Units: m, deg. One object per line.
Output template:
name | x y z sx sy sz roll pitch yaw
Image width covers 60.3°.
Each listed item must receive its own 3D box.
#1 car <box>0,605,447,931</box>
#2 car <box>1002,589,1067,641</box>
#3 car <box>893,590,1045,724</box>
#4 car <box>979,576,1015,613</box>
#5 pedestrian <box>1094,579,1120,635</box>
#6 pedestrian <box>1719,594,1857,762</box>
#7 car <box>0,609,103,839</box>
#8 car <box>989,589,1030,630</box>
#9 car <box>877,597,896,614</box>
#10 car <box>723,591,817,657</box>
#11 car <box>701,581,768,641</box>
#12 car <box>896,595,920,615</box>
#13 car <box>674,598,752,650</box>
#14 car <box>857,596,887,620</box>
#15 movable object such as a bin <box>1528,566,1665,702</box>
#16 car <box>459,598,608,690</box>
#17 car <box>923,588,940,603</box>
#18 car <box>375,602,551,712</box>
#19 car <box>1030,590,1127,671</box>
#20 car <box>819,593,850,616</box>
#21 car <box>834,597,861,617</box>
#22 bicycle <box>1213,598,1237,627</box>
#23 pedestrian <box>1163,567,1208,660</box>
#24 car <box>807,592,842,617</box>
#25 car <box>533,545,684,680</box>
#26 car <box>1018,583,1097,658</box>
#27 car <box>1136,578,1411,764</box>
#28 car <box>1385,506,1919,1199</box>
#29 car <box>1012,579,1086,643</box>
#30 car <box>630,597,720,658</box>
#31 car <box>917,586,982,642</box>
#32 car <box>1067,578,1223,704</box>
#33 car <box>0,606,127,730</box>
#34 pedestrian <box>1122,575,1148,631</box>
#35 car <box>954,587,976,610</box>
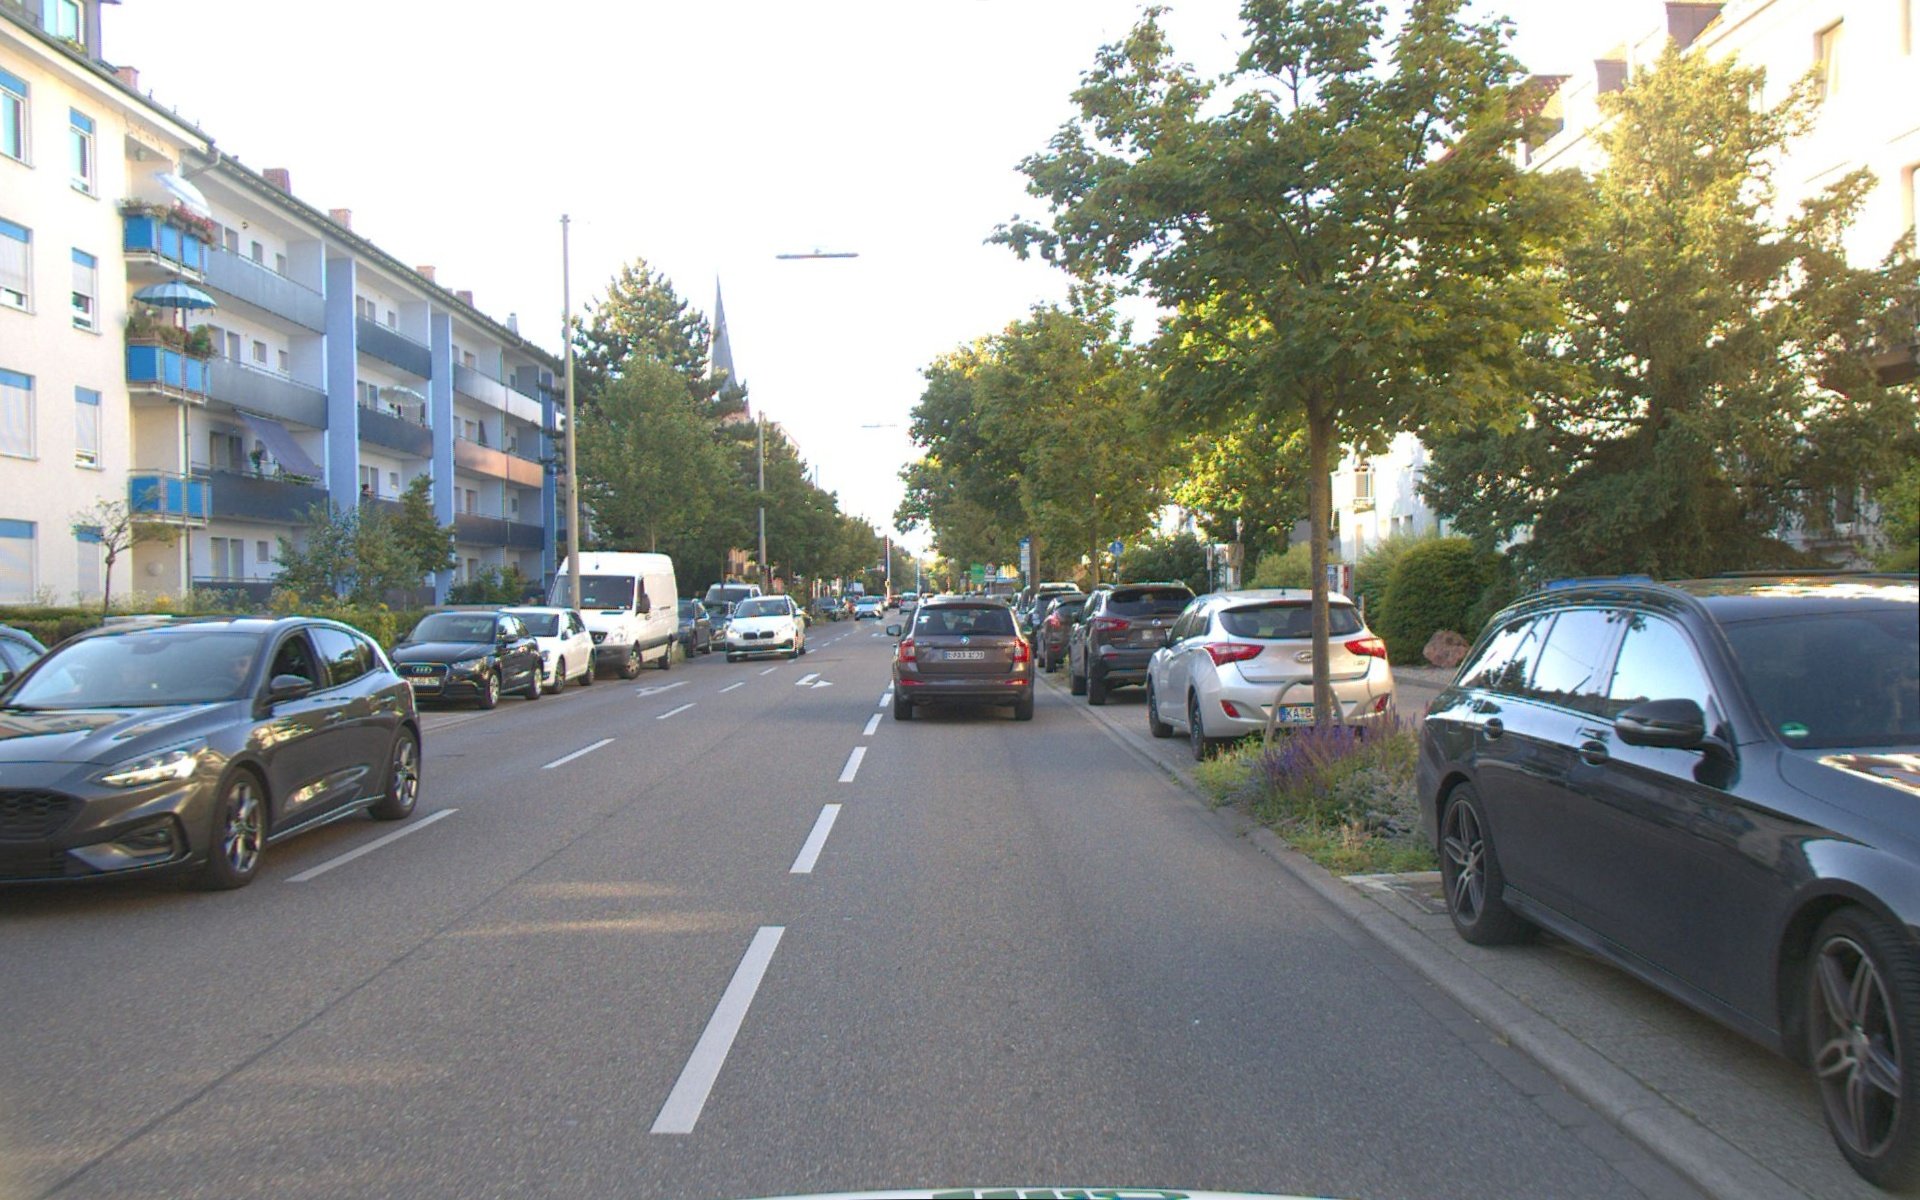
car | -4.617 0.815 9.965 1.665 1.496 4.294 -2 0 0
car | 2.430 0.473 54.855 1.719 1.584 4.249 -2 0 -3
car | 0.129 0.648 20.941 1.718 1.518 4.000 1 0 1
car | 1.986 -0.300 89.451 1.877 1.893 5.633 -1 0 1
pedestrian | 5.051 0.242 56.970 0.733 1.893 1.067 -1 0 -2
pedestrian | 6.365 0.585 12.752 0.659 1.256 0.790 0 -1 0
car | -7.276 0.841 10.108 1.742 1.531 4.587 0 0 -1
car | 2.156 0.402 72.971 1.718 1.716 4.252 1 0 1
car | -8.254 0.615 185.649 1.955 1.780 3.995 -1 0 -6
car | -4.793 0.570 42.284 1.841 1.570 4.267 -1 0 1
car | -8.068 0.387 59.633 1.831 2.067 5.299 0 0 -1
car | -4.191 0.393 131.815 1.746 1.506 3.968 1 0 -4
car | -7.600 0.712 51.177 1.657 1.509 4.144 -1 0 1
car | -5.729 0.516 108.246 1.744 1.521 3.970 1 0 0
movable object such as a bin | 7.568 0.393 19.750 1.240 1.518 1.140 -3 0 9
car | -7.697 0.747 30.183 1.672 1.518 4.058 2 0 -1
car | -3.191 -0.449 183.596 1.613 1.627 3.645 -1 0 -6
car | -7.513 0.810 25.329 1.579 1.498 3.812 1 0 -1
car | 2.350 0.585 33.639 1.580 1.491 3.958 -2 0 -1
car | -8.732 0.309 115.581 1.744 1.506 3.971 1 0 1
car | -8.940 0.548 131.746 1.744 1.506 3.971 1 0 1
bicycle | 9.074 0.425 56.674 0.465 0.961 1.680 -1 0 -1
pedestrian | 4.267 0.260 31.308 0.771 1.730 0.808 0 -1 4
car | -8.414 0.259 103.068 1.744 1.506 4.033 1 0 1
car | -7.595 0.240 36.489 1.953 2.662 7.103 0 0 -1
car | 2.365 0.477 40.913 1.718 1.692 4.252 -2 0 1
car | 2.863 0.586 16.039 1.683 1.520 4.392 -1 0 -2
car | 3.060 0.561 5.922 1.836 1.608 4.821 -2 0 1
car | 2.655 0.309 50.103 1.764 1.840 4.421 1 0 -3
car | -7.850 0.718 45.937 1.638 1.570 4.473 -1 0 1
car | -0.357 0.446 50.566 1.854 1.533 3.788 3 -1 -1
car | 2.558 0.531 23.758 1.683 1.629 4.095 -1 0 -1
car | -12.914 0.792 20.749 3.906 1.437 1.915 1 0 -1
pedestrian | 5.976 0.093 56.468 0.781 1.893 0.951 -1 0 10
car | 0.395 -0.109 137.467 1.718 1.837 4.000 1 0 0
